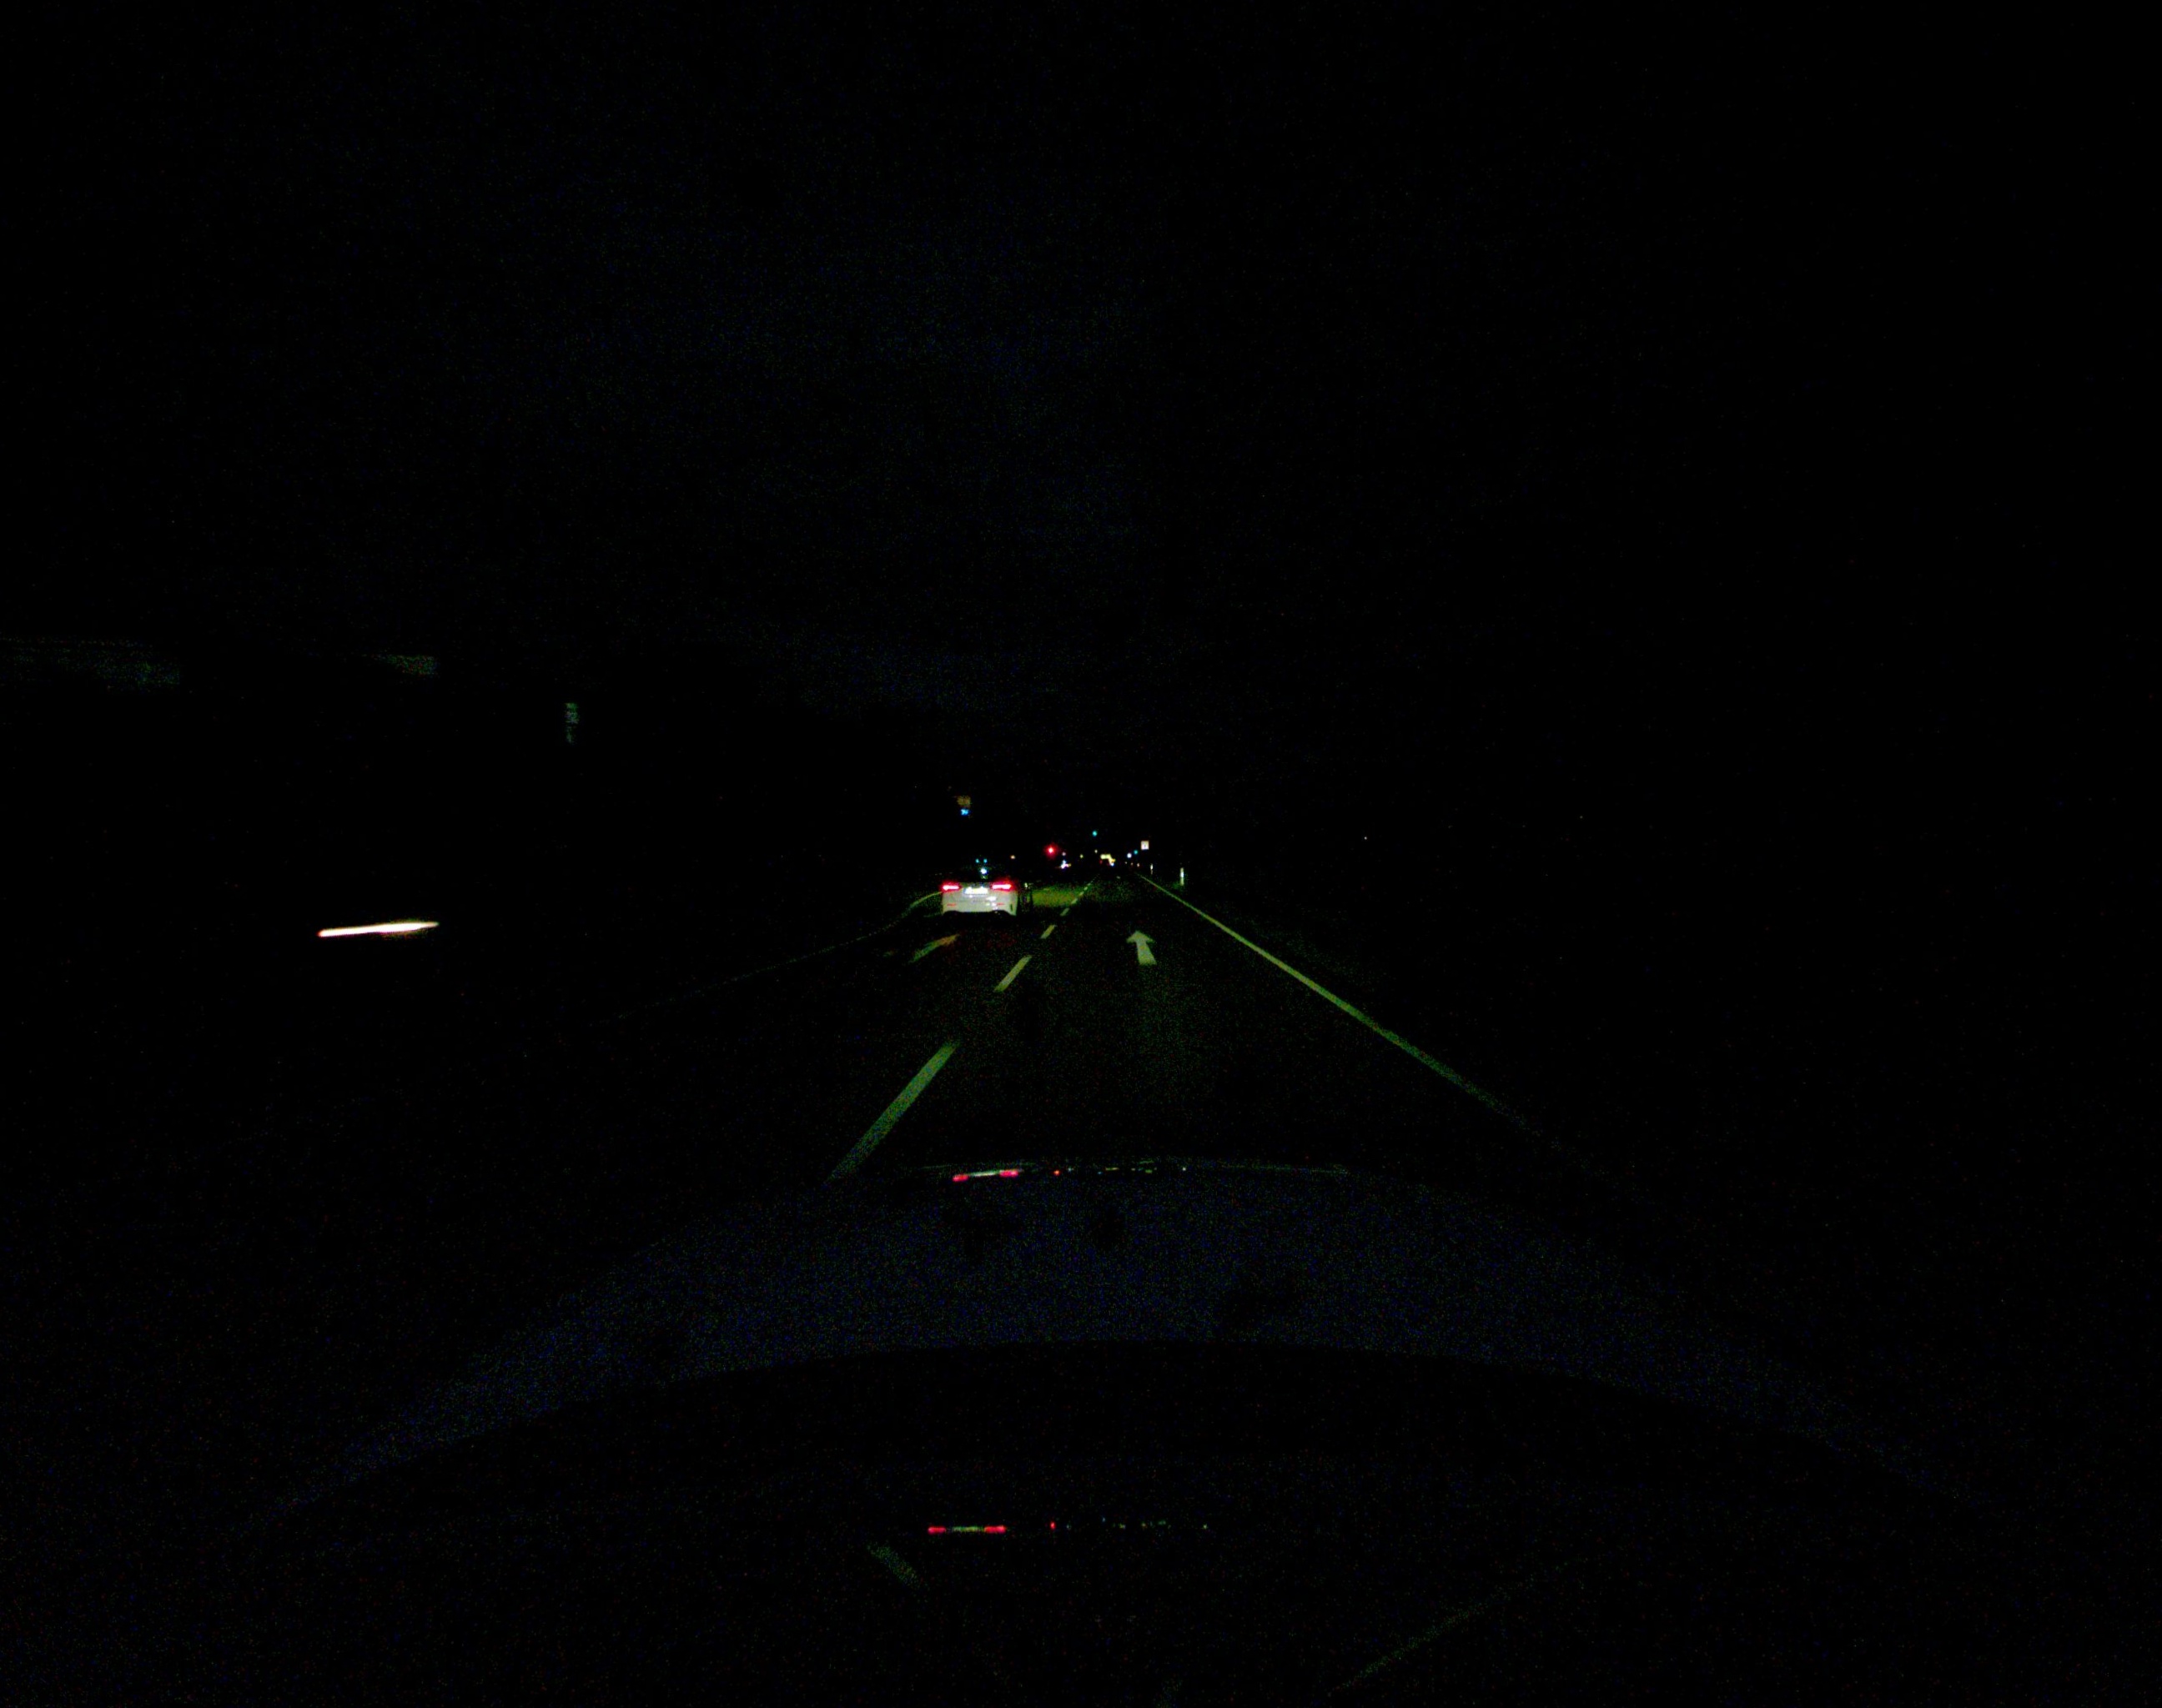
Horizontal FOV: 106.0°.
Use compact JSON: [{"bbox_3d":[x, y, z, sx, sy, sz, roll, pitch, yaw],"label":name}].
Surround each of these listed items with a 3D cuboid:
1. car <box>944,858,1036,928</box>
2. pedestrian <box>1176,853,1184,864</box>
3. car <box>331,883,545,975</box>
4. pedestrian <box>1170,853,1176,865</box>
[{"bbox_3d":[-2.128,0.871,20.139,1.636,1.490,4.580,-1,0,1],"label":"car"},{"bbox_3d":[15.789,0.759,129.836,1.087,1.723,1.260,-1,-1,1],"label":"pedestrian"},{"bbox_3d":[-14.674,1.635,18.916,1.663,1.758,4.002,-1,0,2],"label":"car"},{"bbox_3d":[14.680,0.816,129.797,0.918,1.793,1.107,-1,0,2],"label":"pedestrian"}]
